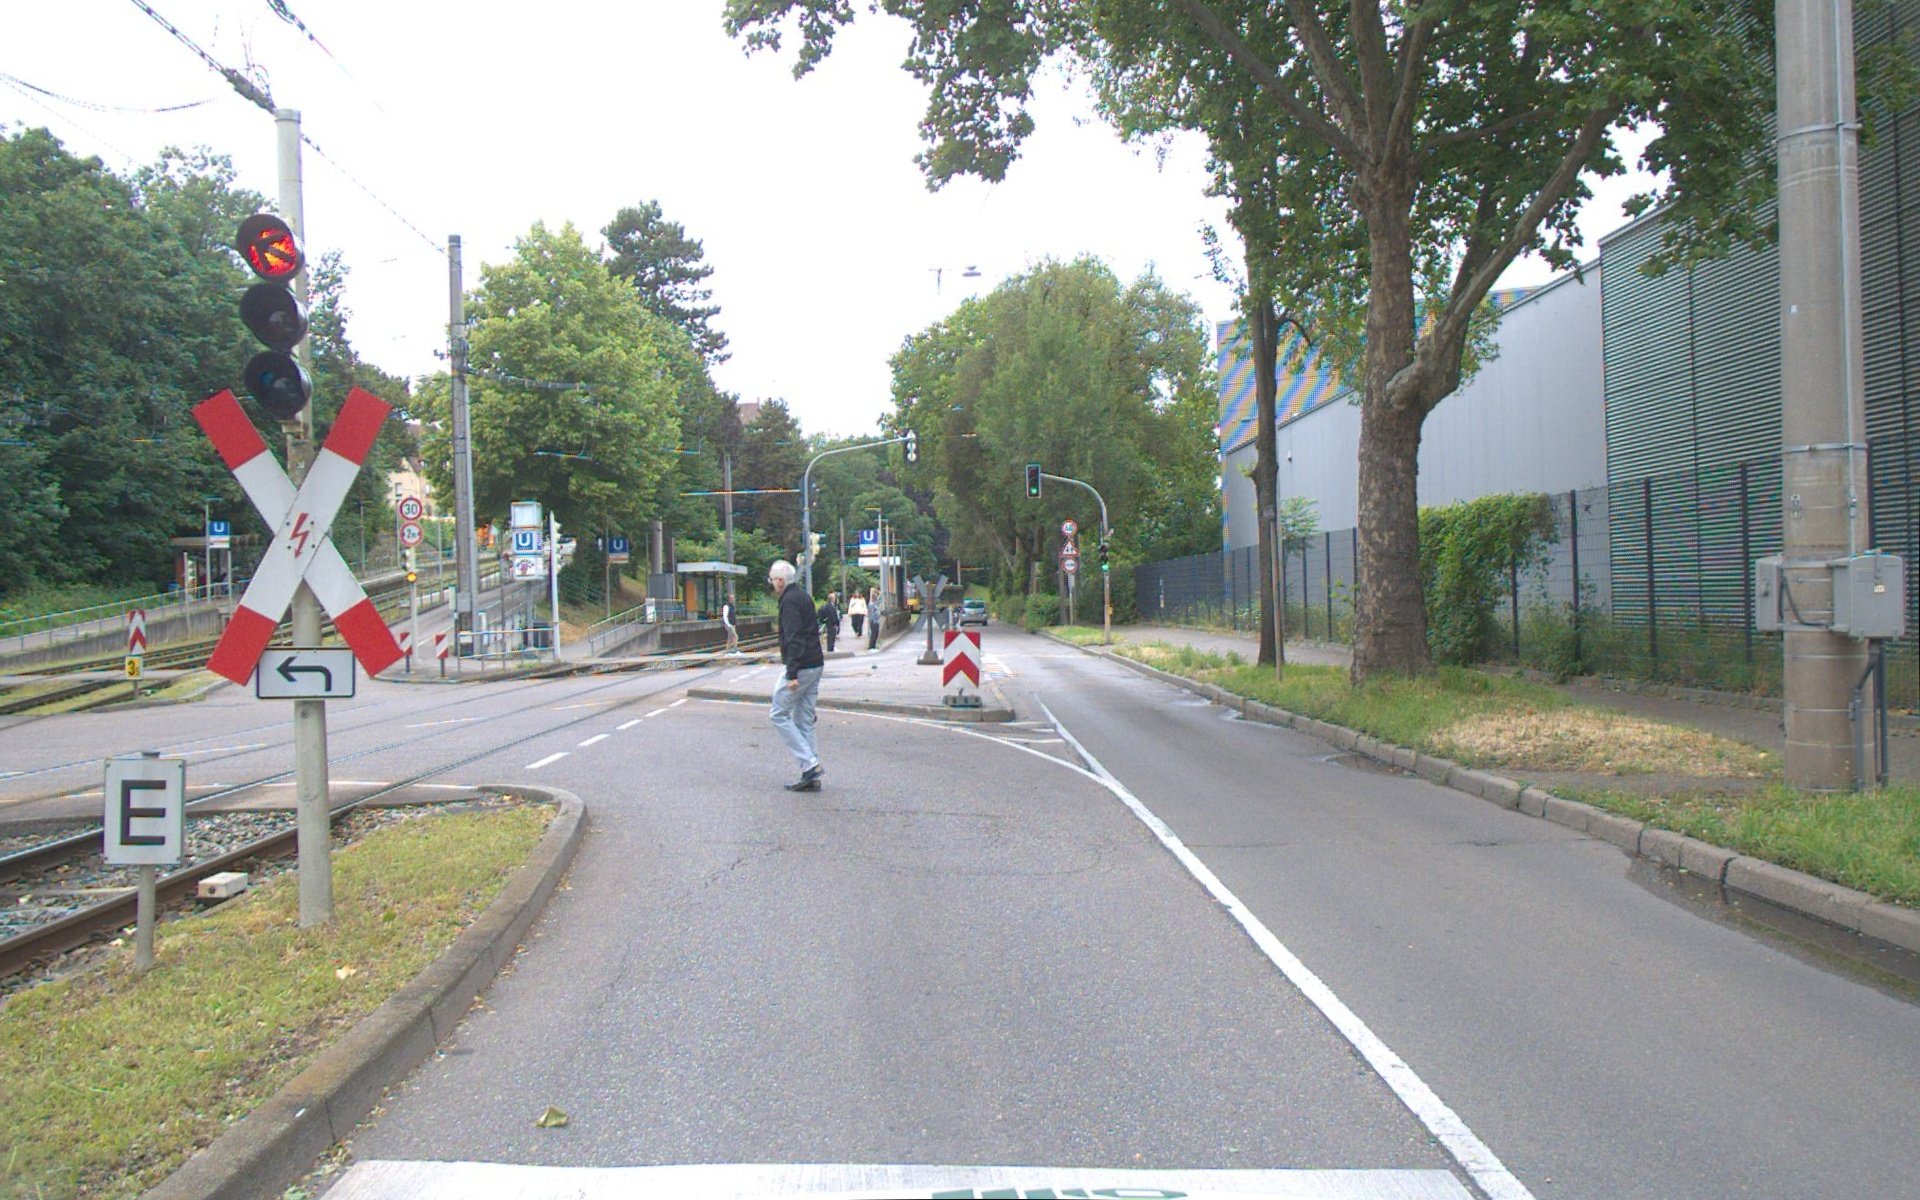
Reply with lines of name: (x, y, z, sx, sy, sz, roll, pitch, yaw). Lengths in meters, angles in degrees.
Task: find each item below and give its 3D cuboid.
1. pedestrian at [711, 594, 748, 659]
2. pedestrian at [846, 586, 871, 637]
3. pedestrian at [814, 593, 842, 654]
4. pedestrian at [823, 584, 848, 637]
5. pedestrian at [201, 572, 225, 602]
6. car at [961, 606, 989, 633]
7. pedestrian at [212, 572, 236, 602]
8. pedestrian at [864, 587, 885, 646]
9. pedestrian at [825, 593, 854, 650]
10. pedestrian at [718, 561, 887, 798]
pedestrian: (-6.591, 0.751, 47.317, 0.798, 1.853, 0.660, 1, -1, -42)
pedestrian: (-3.367, 0.386, 55.073, 0.722, 1.694, 0.680, 1, -1, -11)
pedestrian: (-3.742, 0.671, 46.936, 0.720, 1.694, 0.682, 1, -1, 1)
pedestrian: (-4.093, 0.338, 54.157, 0.722, 1.694, 0.680, 1, -1, -11)
pedestrian: (-33.506, -0.586, 74.172, 0.757, 1.349, 0.786, 1, 2, -9)
car: (0.934, 1.219, 105.681, 1.708, 1.626, 3.999, 1, 1, -1)
pedestrian: (-33.630, -0.605, 75.579, 0.757, 1.349, 0.785, 1, 0, -9)
pedestrian: (-2.629, 0.505, 50.738, 0.538, 1.789, 0.738, 1, -1, 4)
pedestrian: (-3.620, 0.639, 49.741, 0.665, 1.694, 0.738, 1, -1, 14)
pedestrian: (-1.233, 0.603, 13.098, 1.093, 1.791, 0.814, 1, 0, 16)
